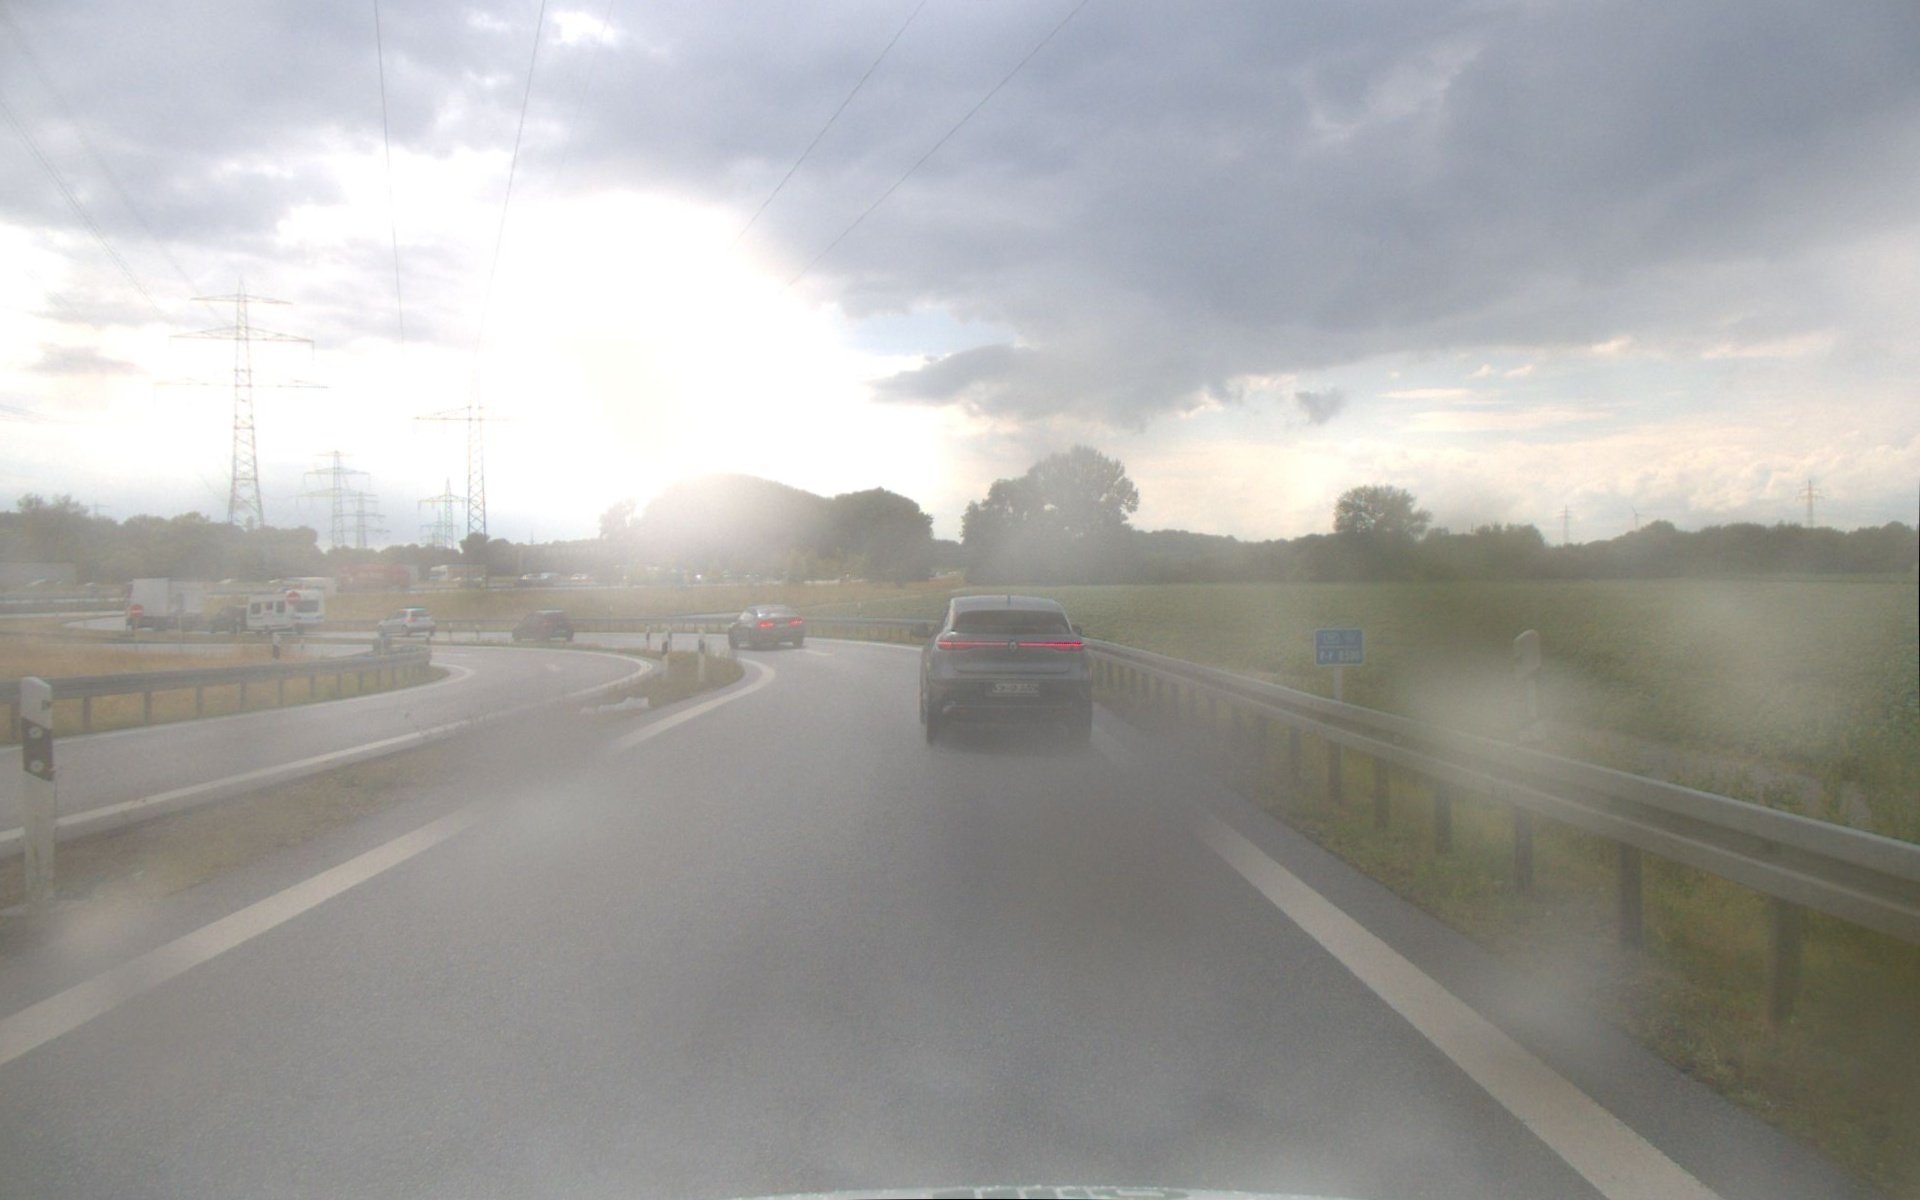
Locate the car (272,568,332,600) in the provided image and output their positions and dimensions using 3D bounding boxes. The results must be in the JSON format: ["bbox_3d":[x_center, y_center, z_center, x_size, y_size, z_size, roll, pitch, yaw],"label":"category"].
[{"bbox_3d":[-77.197,-1.903,194.142,3.313,3.673,9.046,-1,1,0],"label":"car"}]

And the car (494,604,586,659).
[{"bbox_3d":[-20.391,1.492,80.195,2.338,2.346,5.053,-3,3,-41],"label":"car"}]

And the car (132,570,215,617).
[{"bbox_3d":[-54.817,-0.525,115.216,3.122,3.002,7.094,-3,4,-43],"label":"car"}]

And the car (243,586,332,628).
[{"bbox_3d":[-40.753,0.402,100.225,5.014,2.346,2.356,1,3,29],"label":"car"}]

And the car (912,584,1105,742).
[{"bbox_3d":[0.498,0.626,18.972,1.953,1.594,4.149,1,0,0],"label":"car"}]

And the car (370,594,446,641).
[{"bbox_3d":[-31.109,0.951,93.182,2.338,2.346,5.053,-3,3,-41],"label":"car"}]

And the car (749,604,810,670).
[{"bbox_3d":[-6.566,1.303,60.471,2.080,2.053,5.529,-1,2,-6],"label":"car"}]
